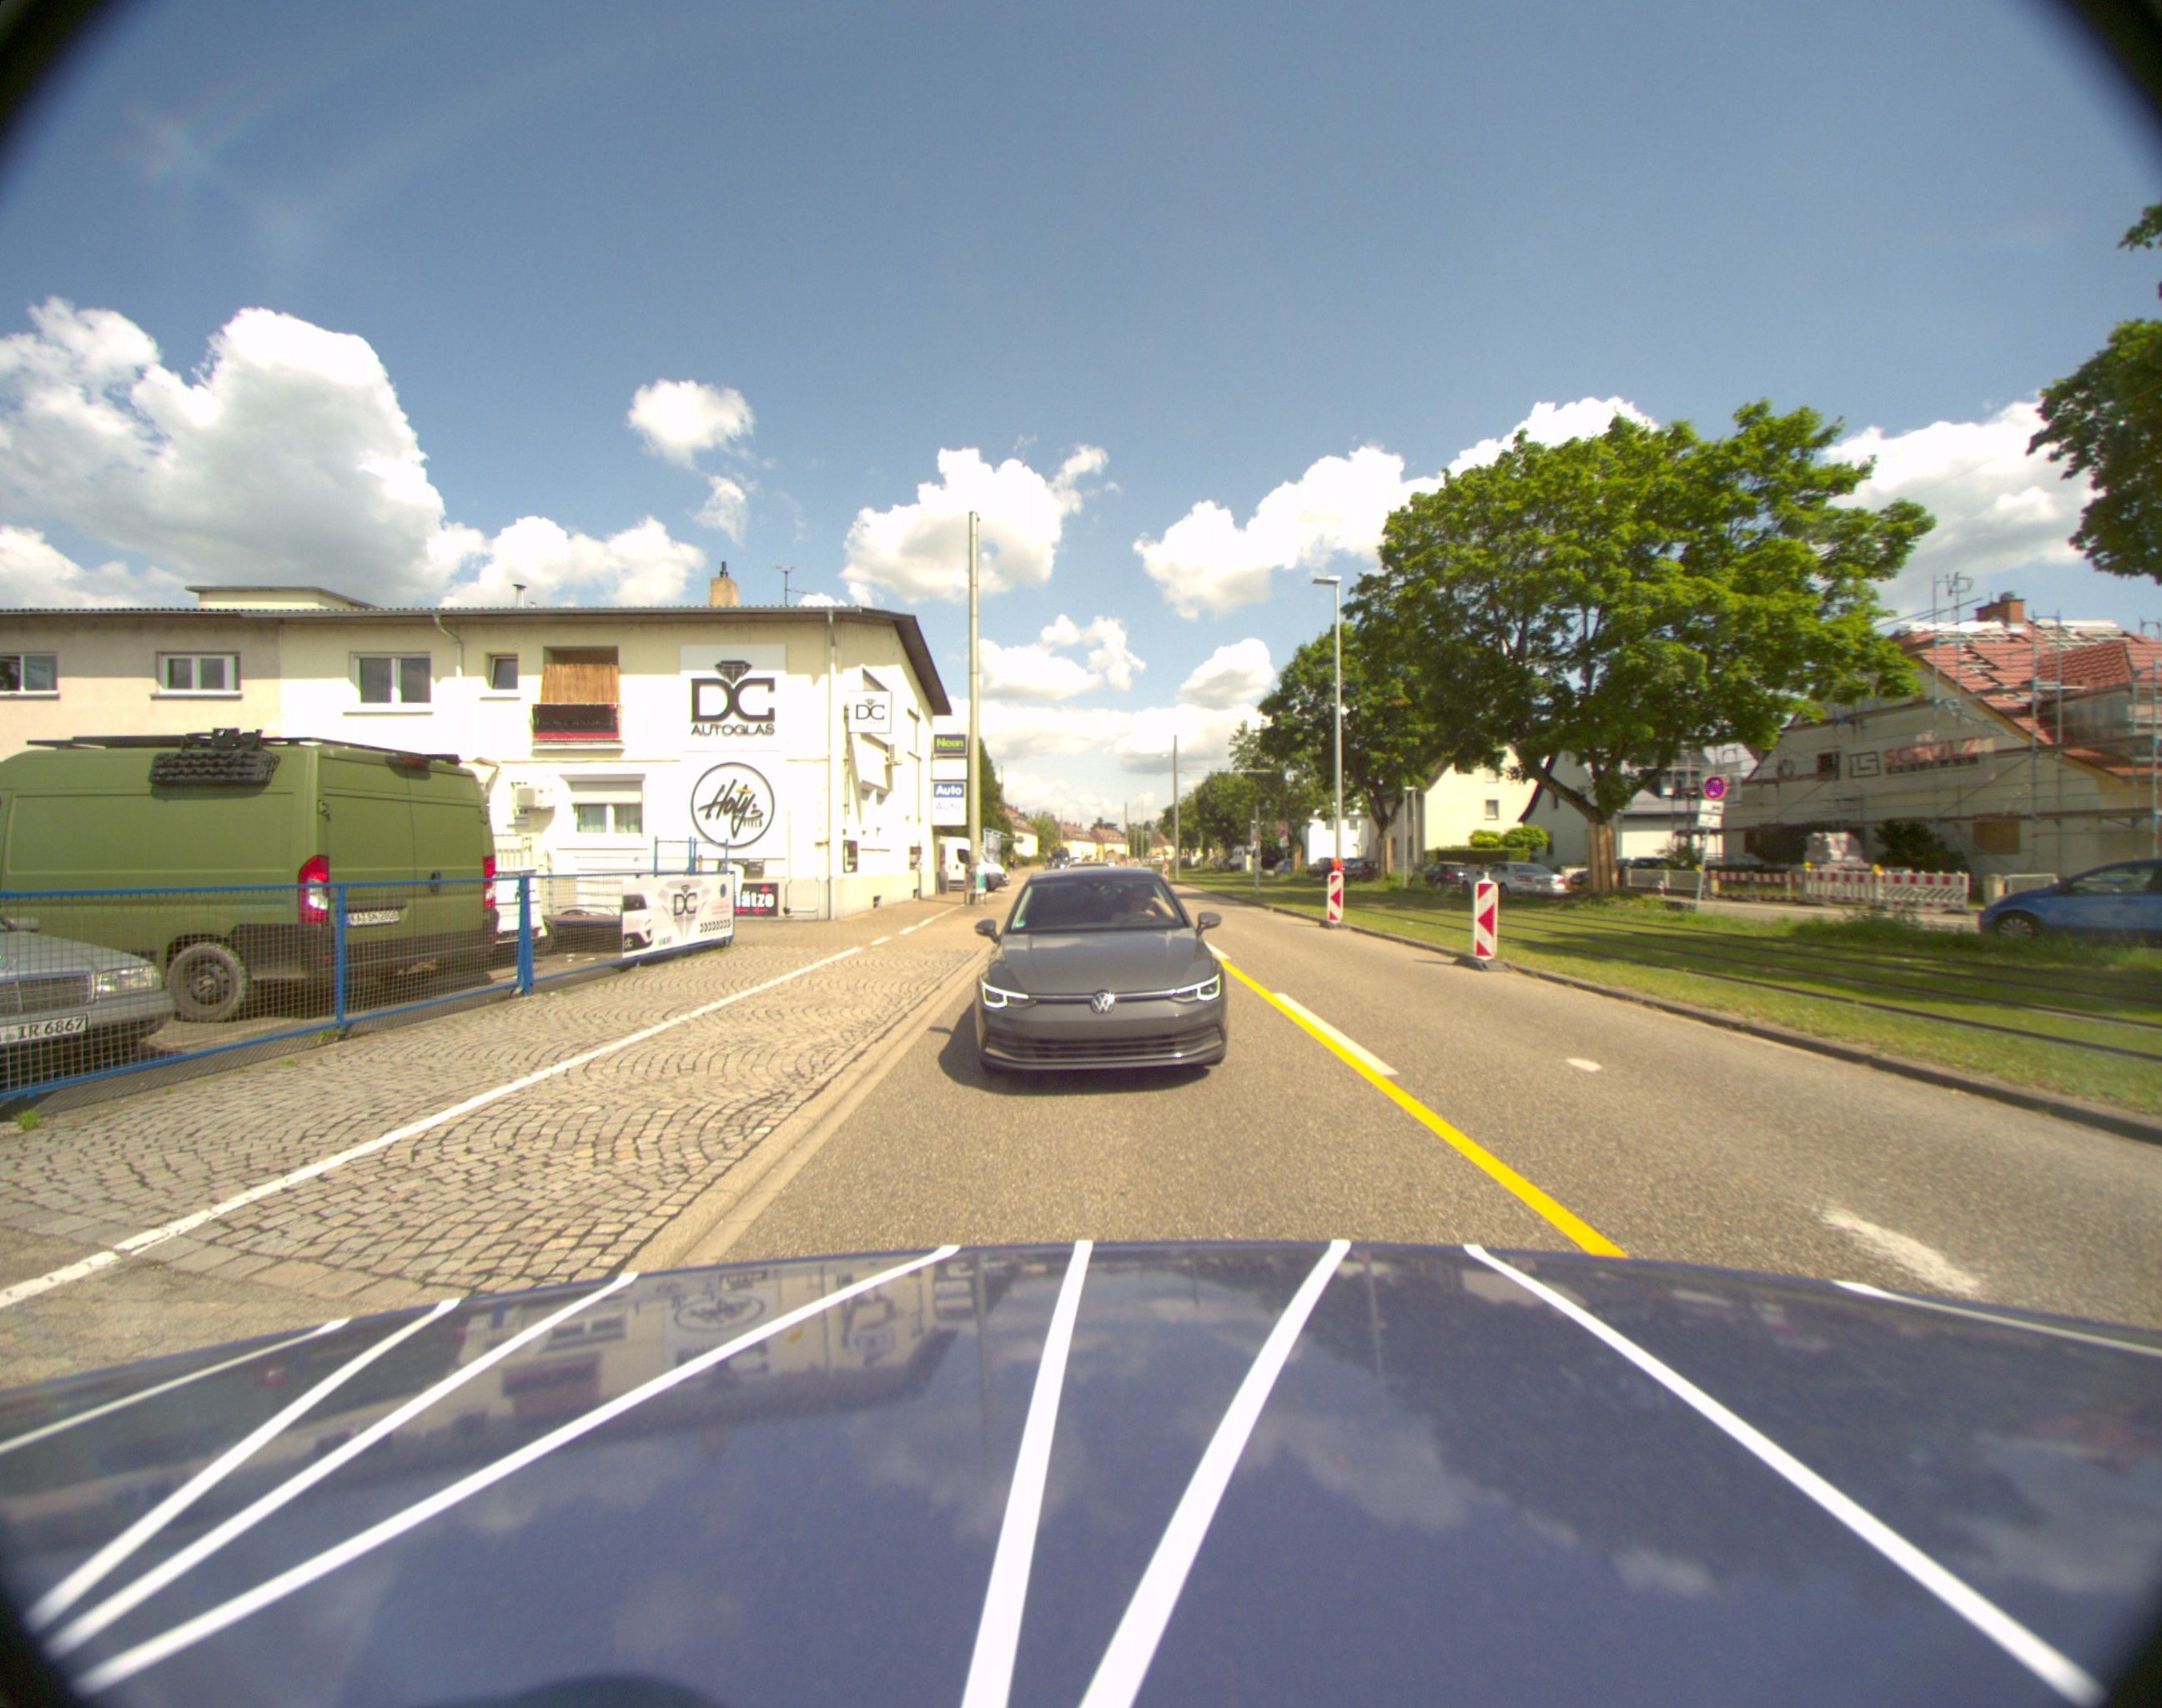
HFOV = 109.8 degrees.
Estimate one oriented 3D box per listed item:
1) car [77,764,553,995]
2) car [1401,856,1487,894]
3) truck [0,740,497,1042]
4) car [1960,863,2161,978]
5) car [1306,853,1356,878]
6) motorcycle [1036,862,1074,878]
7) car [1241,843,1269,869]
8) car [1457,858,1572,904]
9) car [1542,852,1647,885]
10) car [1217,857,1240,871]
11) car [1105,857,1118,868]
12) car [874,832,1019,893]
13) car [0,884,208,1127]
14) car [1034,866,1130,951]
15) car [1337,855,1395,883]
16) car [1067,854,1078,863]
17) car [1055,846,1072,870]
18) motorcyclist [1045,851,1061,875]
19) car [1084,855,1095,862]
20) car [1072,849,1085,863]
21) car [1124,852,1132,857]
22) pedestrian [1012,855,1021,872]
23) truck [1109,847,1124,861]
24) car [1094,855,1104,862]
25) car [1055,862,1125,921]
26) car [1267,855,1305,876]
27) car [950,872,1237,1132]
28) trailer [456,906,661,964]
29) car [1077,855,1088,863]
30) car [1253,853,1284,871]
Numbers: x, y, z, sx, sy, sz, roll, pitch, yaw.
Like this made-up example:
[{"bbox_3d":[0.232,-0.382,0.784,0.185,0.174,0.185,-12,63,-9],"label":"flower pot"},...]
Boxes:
[{"bbox_3d":[-9.455,0.300,9.656,4.209,2.653,1.803,0,0,0],"label":"car"},{"bbox_3d":[16.589,0.912,35.034,1.755,1.602,4.606,0,0,0],"label":"car"},{"bbox_3d":[-8.623,0.327,7.571,3.997,2.592,2.069,0,0,1],"label":"truck"},{"bbox_3d":[16.227,0.956,11.237,1.755,1.602,4.050,0,0,0],"label":"car"},{"bbox_3d":[16.679,0.758,50.912,1.755,1.602,4.606,0,0,0],"label":"car"},{"bbox_3d":[-2.045,1.257,60.007,2.896,1.164,0.887,0,0,15],"label":"motorcycle"},{"bbox_3d":[17.645,0.189,77.061,1.755,2.601,4.606,0,0,0],"label":"car"},{"bbox_3d":[16.388,0.961,29.011,1.755,1.602,4.606,0,0,0],"label":"car"},{"bbox_3d":[25.511,0.716,37.837,4.047,1.602,1.757,0,0,1],"label":"car"},{"bbox_3d":[16.932,1.144,87.275,1.755,1.602,4.606,0,0,0],"label":"car"},{"bbox_3d":[4.180,1.161,105.454,1.719,1.405,4.262,0,0,1],"label":"car"},{"bbox_3d":[-5.932,0.377,33.984,5.982,2.362,2.000,3,0,3],"label":"car"},{"bbox_3d":[-8.437,0.917,4.815,4.206,1.388,1.804,0,0,8],"label":"car"},{"bbox_3d":[0.038,1.004,15.648,1.719,1.470,4.009,0,0,1],"label":"car"},{"bbox_3d":[16.900,0.845,45.272,1.755,1.602,4.606,0,0,0],"label":"car"},{"bbox_3d":[-1.365,0.727,122.963,1.720,1.470,4.009,0,0,0],"label":"car"},{"bbox_3d":[-1.918,0.403,82.826,1.720,2.526,5.794,0,0,0],"label":"car"},{"bbox_3d":[-2.214,0.717,60.051,1.111,1.900,0.880,0,0,15],"label":"motorcyclist"},{"bbox_3d":[1.815,0.974,155.306,1.718,1.470,4.011,0,0,8],"label":"car"},{"bbox_3d":[-0.429,0.387,136.327,1.719,2.360,5.211,0,0,5],"label":"car"},{"bbox_3d":[13.532,0.215,218.482,1.718,1.470,4.013,0,0,13],"label":"car"},{"bbox_3d":[-6.255,0.911,73.694,0.816,1.577,0.918,0,0,1],"label":"pedestrian"},{"bbox_3d":[9.406,0.003,201.139,2.590,3.431,8.585,0,0,11],"label":"truck"},{"bbox_3d":[4.105,0.980,172.740,1.718,1.470,4.011,0,0,8],"label":"car"},{"bbox_3d":[0.260,0.986,21.496,1.787,1.470,4.009,0,0,1],"label":"car"},{"bbox_3d":[16.495,0.910,61.361,1.755,1.602,4.606,0,0,0],"label":"car"},{"bbox_3d":[0.099,0.936,6.567,1.719,1.470,4.009,0,0,1],"label":"car"},{"bbox_3d":[-8.062,1.236,11.841,2.329,0.762,1.269,0,0,2],"label":"trailer"},{"bbox_3d":[0.340,0.974,146.558,1.719,1.470,4.011,0,0,6],"label":"car"},{"bbox_3d":[17.584,0.748,71.500,1.755,1.602,4.606,0,0,0],"label":"car"}]
